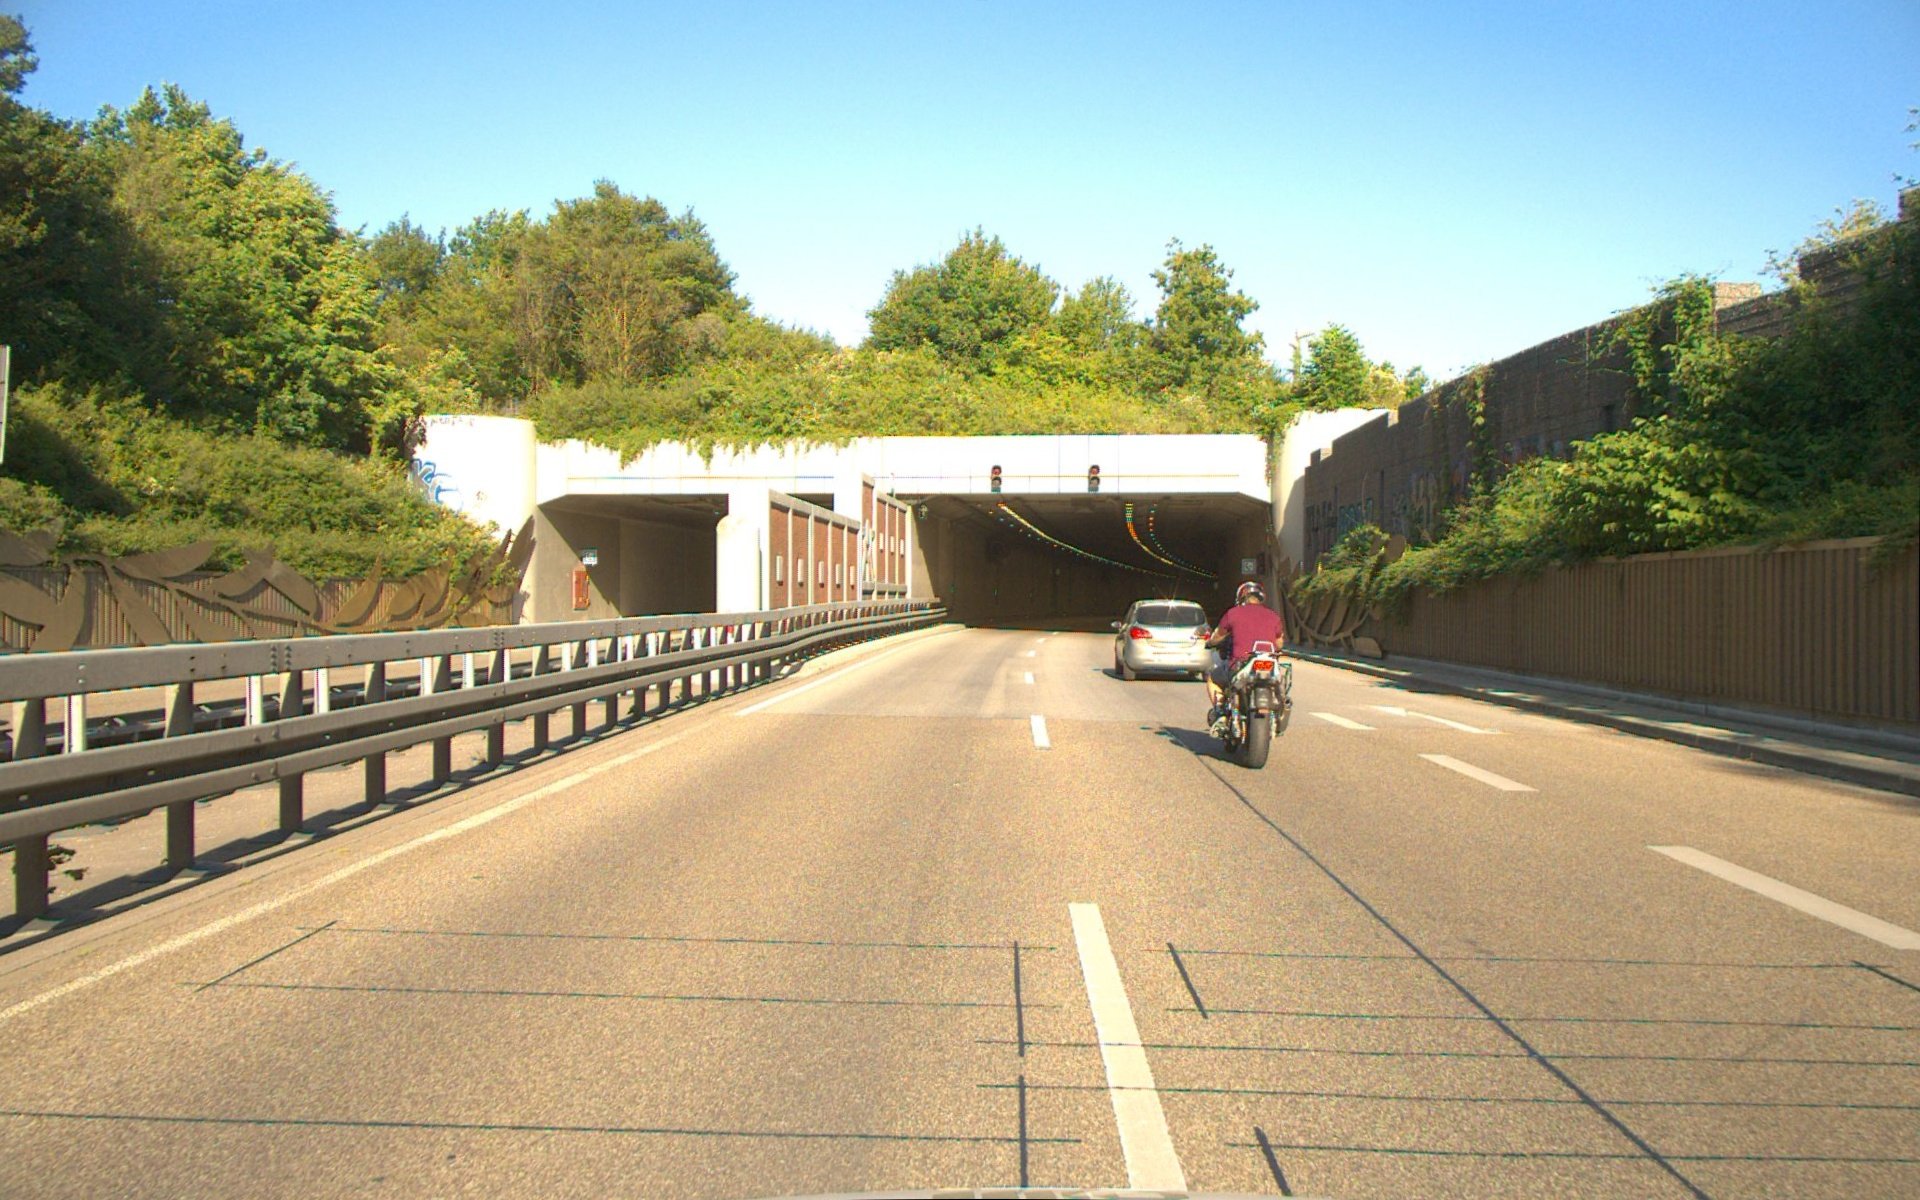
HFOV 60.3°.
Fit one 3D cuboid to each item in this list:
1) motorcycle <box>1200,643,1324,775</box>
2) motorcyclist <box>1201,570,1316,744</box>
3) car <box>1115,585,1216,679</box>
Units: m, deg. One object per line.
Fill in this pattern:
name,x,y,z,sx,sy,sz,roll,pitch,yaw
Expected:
motorcycle,2.739,0.951,15.279,0.840,1.008,2.730,1,0,5
motorcyclist,2.741,0.497,15.294,0.865,1.527,1.063,2,1,3
car,3.827,0.543,31.327,1.632,1.579,4.002,2,1,4
